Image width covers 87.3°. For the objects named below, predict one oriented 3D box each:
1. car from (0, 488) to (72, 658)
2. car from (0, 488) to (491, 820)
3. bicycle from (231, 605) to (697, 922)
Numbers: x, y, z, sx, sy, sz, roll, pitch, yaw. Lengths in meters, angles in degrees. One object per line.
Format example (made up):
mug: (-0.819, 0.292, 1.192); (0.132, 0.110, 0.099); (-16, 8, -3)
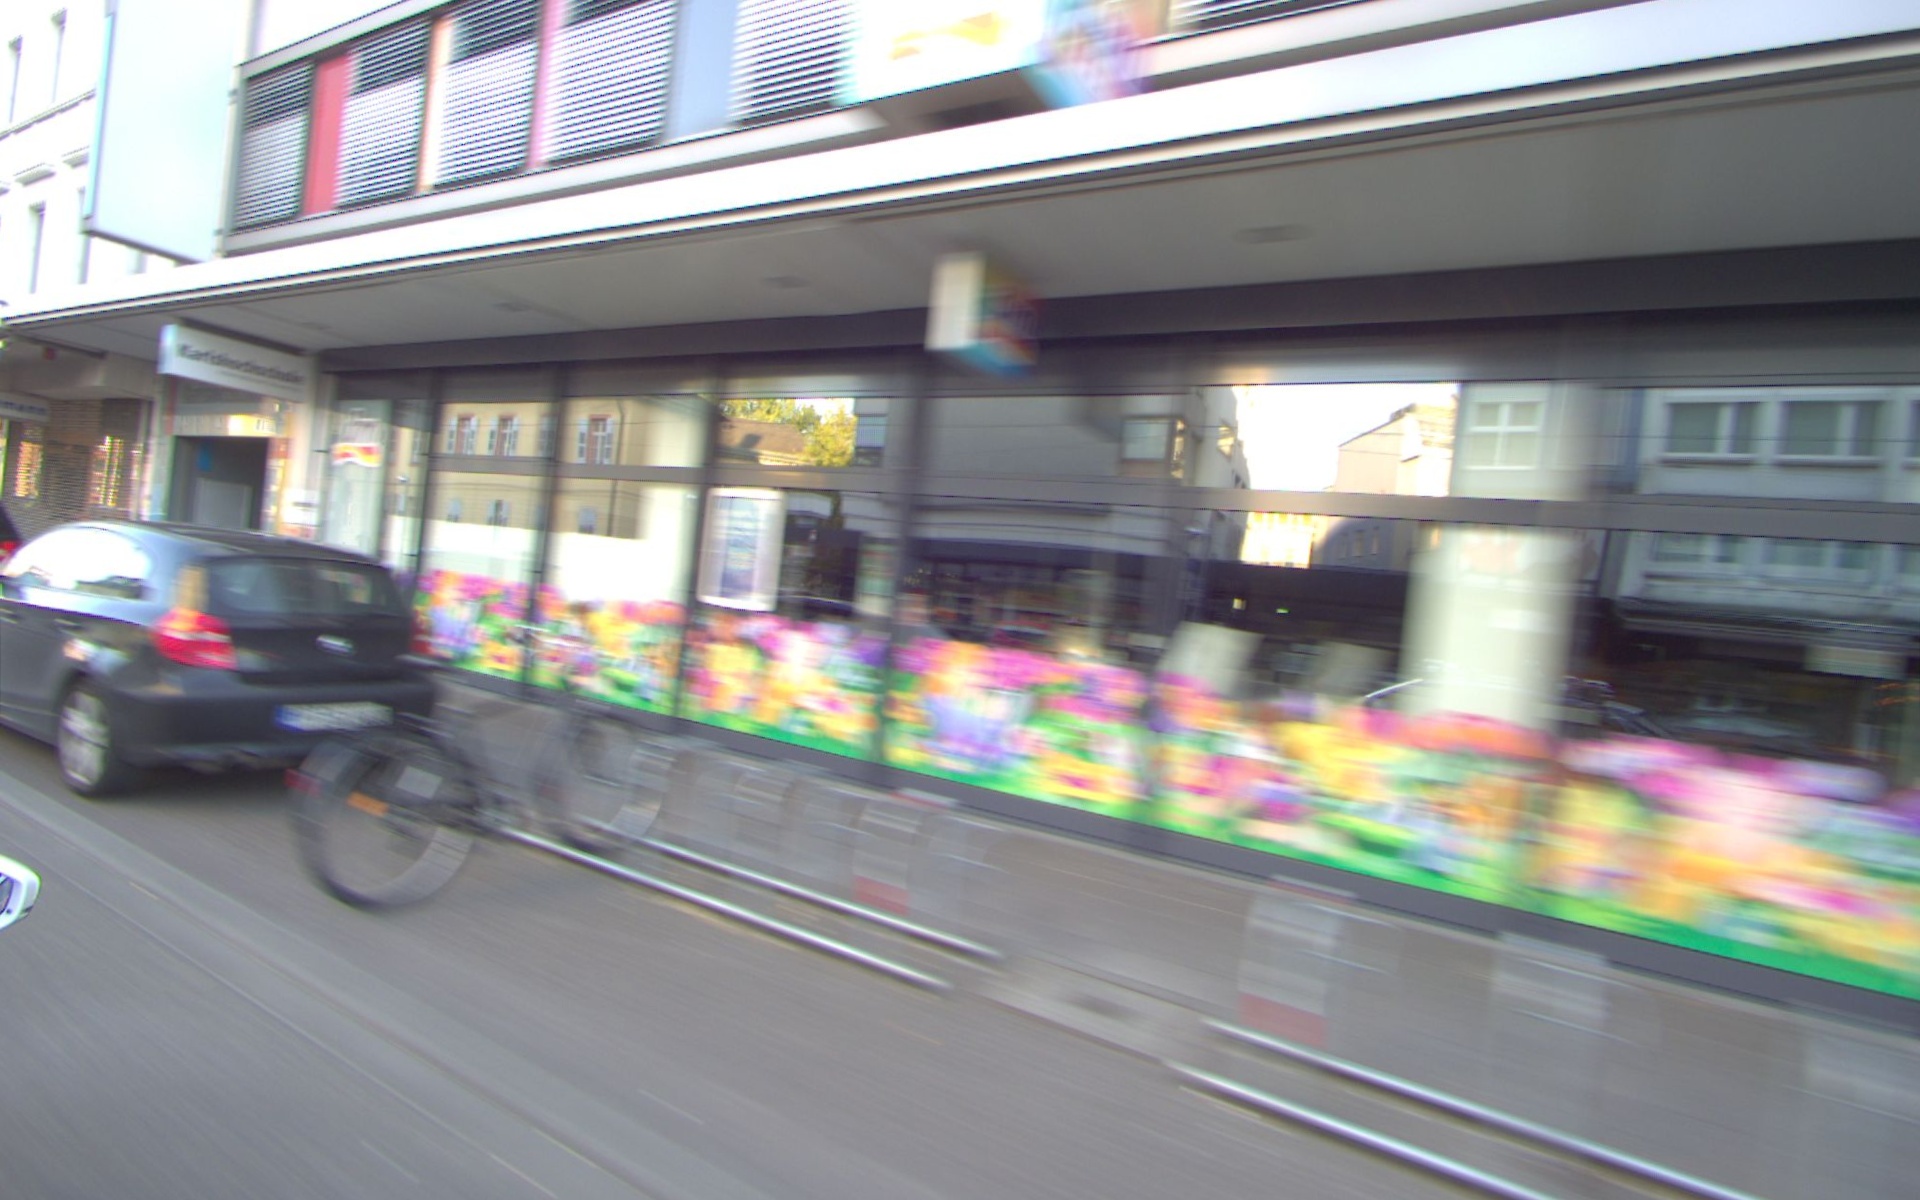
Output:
car: (-10.741, -0.477, 9.934); (4.004, 1.531, 1.769); (6, -2, 32)
car: (-5.022, 0.195, 6.414); (3.956, 1.479, 1.658); (6, -2, 32)
bicycle: (-2.163, 0.662, 4.688); (0.631, 1.123, 1.842); (6, 0, 28)
